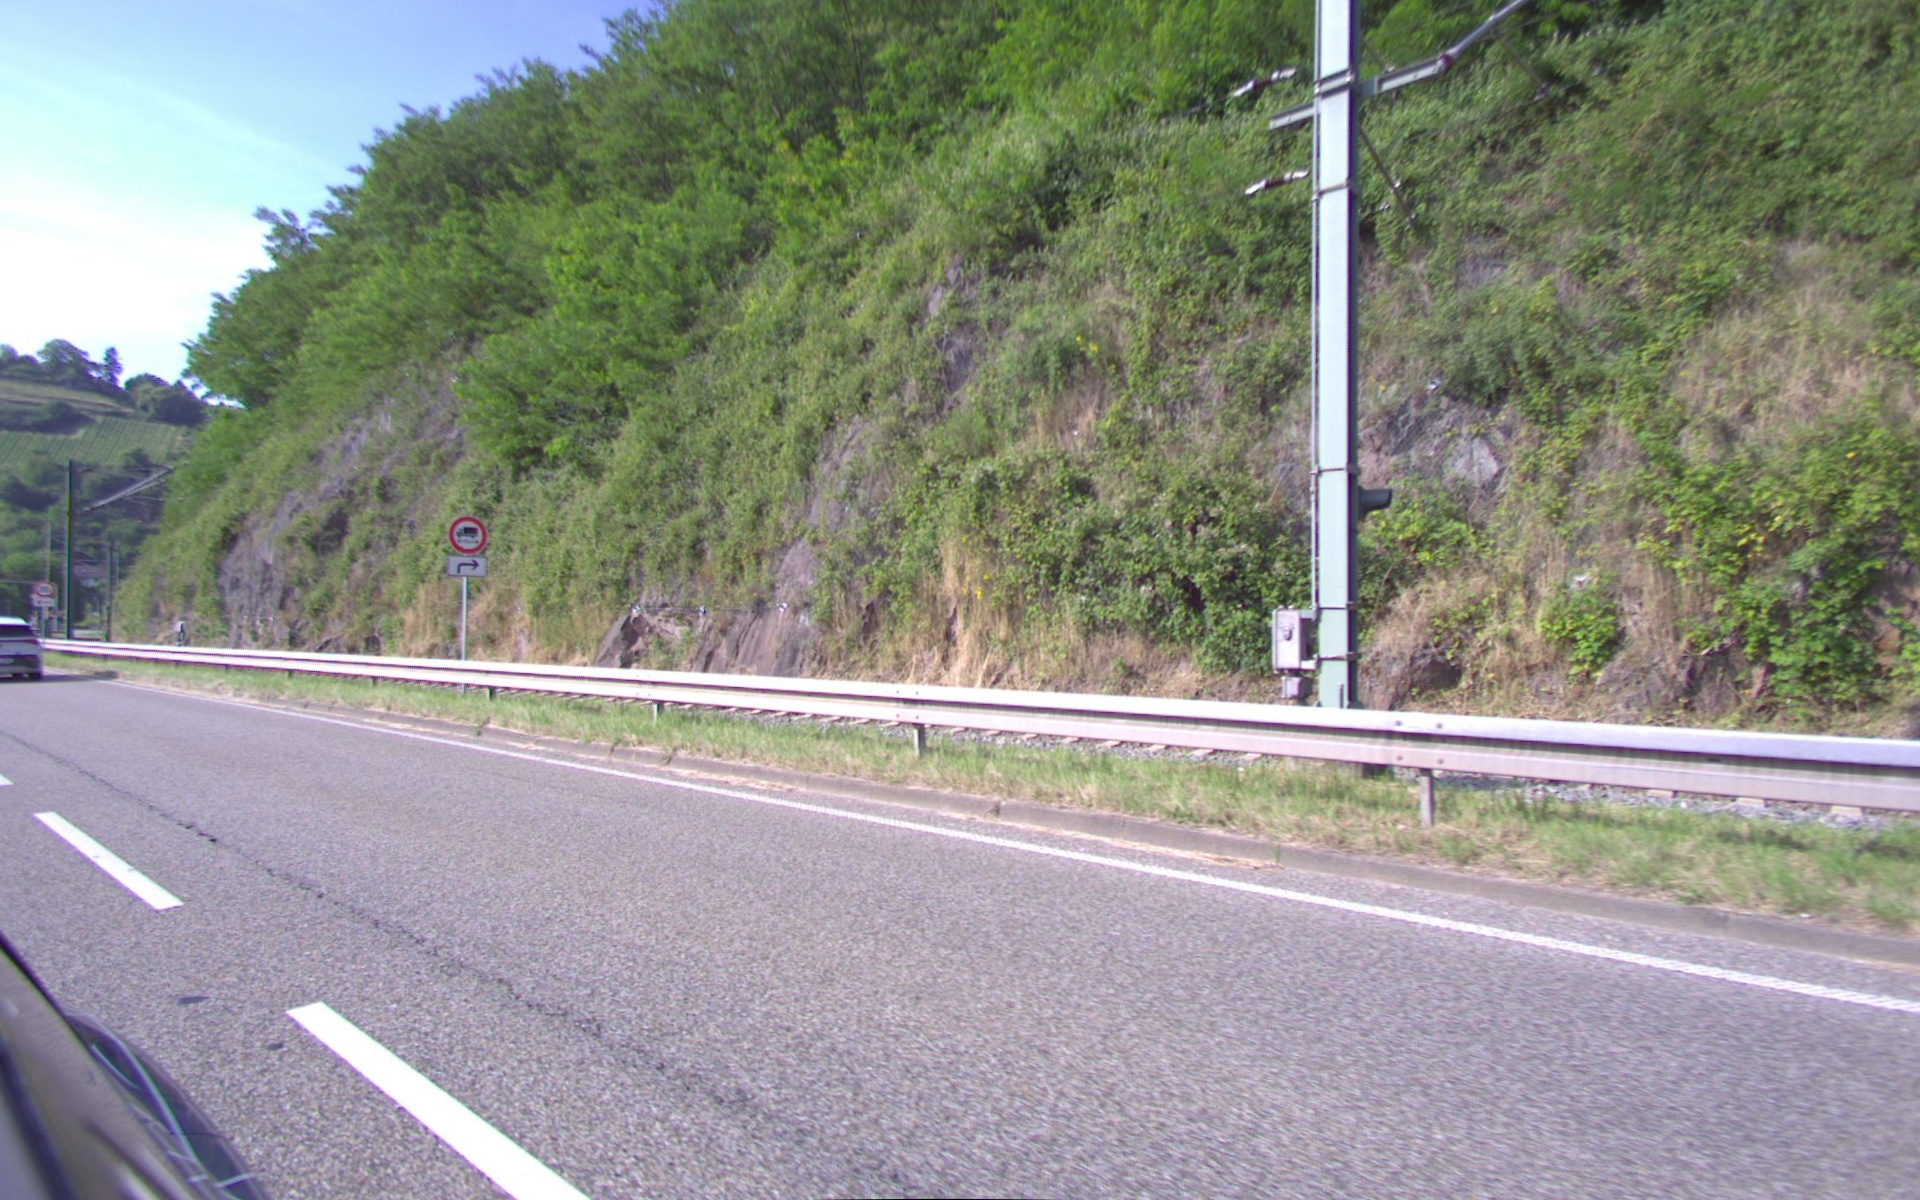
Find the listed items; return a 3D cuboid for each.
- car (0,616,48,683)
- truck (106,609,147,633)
[{"bbox_3d":[-24.163,1.190,24.970,4.599,1.556,1.829,-1,-1,40],"label":"car"},{"bbox_3d":[-135.963,3.460,165.126,2.856,3.828,8.923,2,-3,-25],"label":"truck"}]
